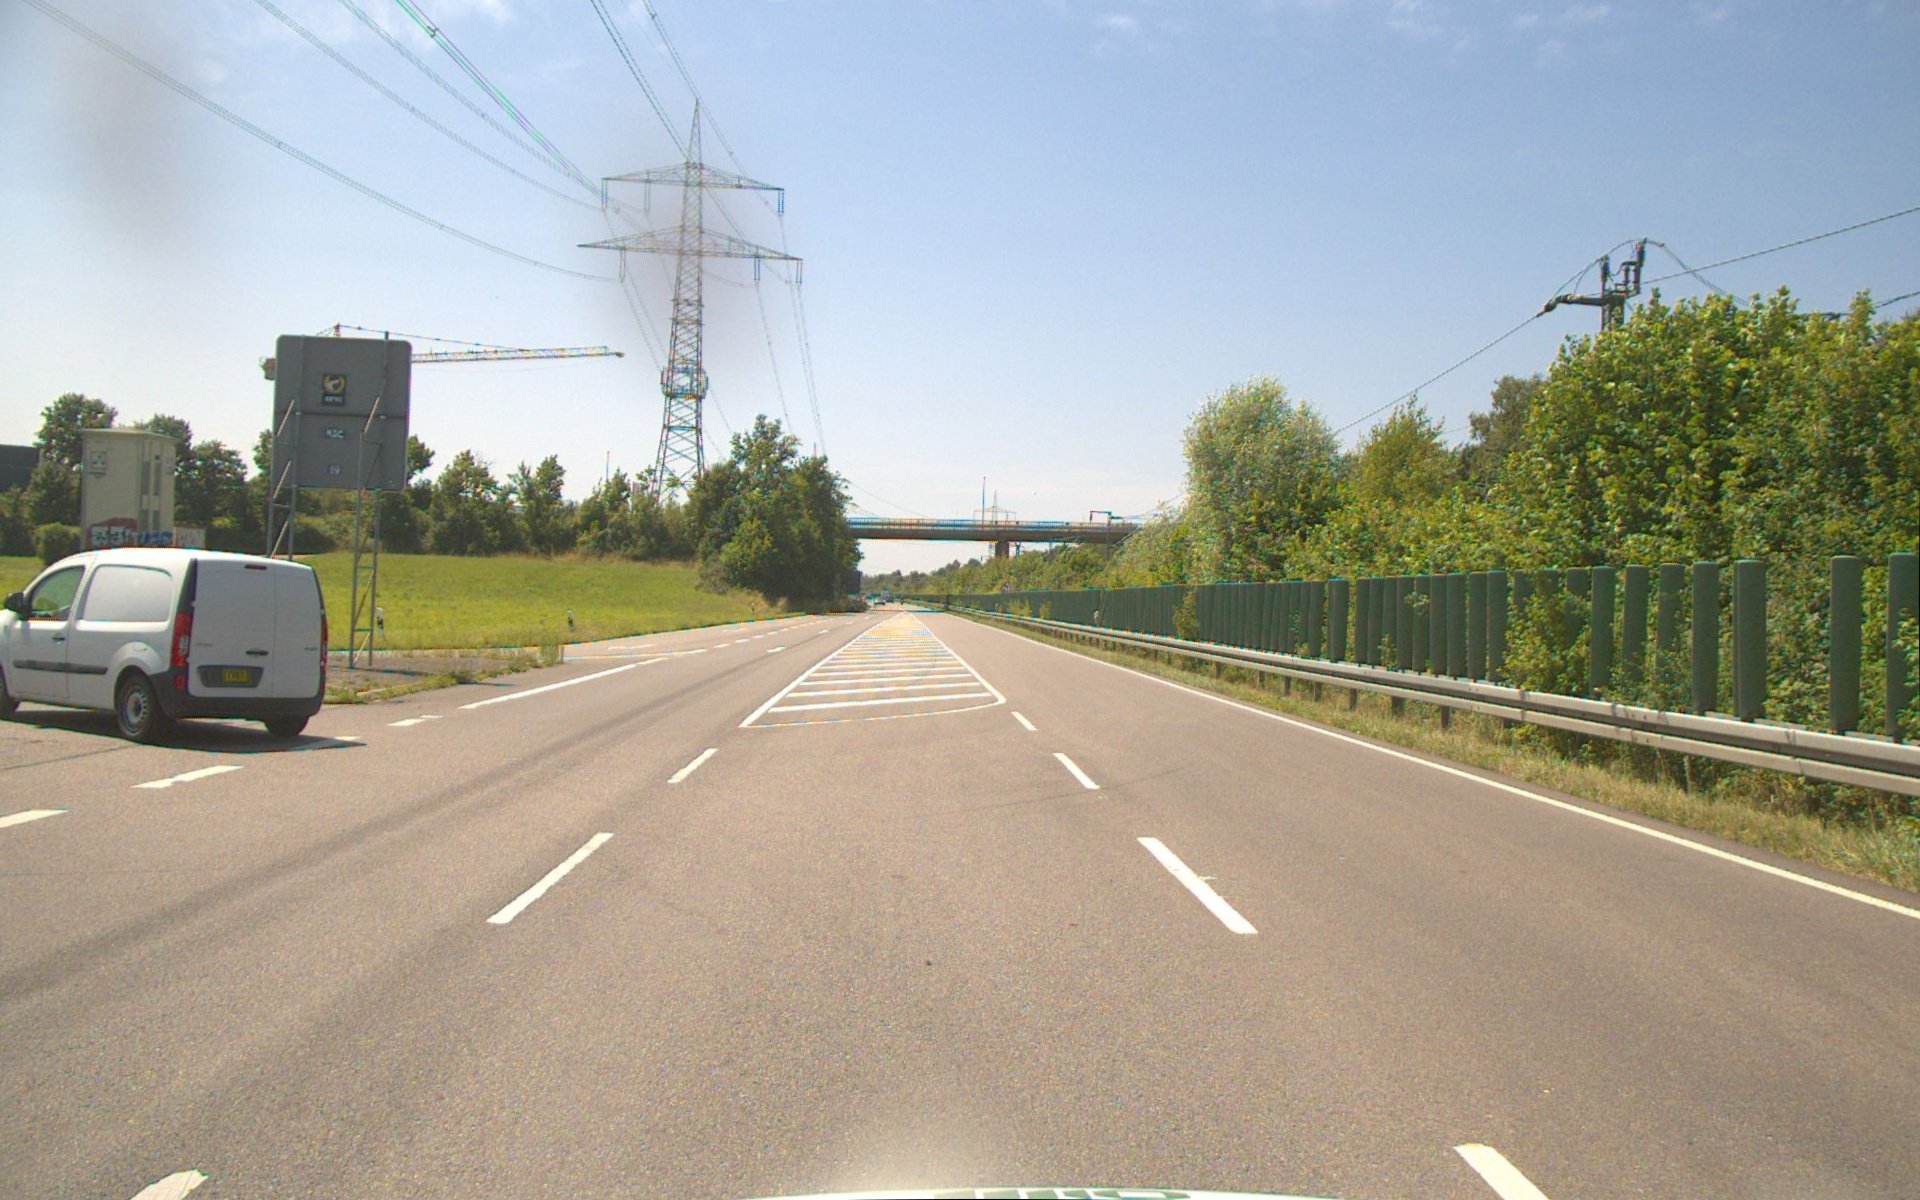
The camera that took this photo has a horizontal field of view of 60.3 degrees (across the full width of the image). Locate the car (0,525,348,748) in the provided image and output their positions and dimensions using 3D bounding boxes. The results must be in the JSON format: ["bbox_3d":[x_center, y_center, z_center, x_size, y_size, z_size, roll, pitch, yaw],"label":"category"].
[{"bbox_3d":[-8.208,0.313,16.739,3.917,2.005,1.827,1,0,34],"label":"car"}]
